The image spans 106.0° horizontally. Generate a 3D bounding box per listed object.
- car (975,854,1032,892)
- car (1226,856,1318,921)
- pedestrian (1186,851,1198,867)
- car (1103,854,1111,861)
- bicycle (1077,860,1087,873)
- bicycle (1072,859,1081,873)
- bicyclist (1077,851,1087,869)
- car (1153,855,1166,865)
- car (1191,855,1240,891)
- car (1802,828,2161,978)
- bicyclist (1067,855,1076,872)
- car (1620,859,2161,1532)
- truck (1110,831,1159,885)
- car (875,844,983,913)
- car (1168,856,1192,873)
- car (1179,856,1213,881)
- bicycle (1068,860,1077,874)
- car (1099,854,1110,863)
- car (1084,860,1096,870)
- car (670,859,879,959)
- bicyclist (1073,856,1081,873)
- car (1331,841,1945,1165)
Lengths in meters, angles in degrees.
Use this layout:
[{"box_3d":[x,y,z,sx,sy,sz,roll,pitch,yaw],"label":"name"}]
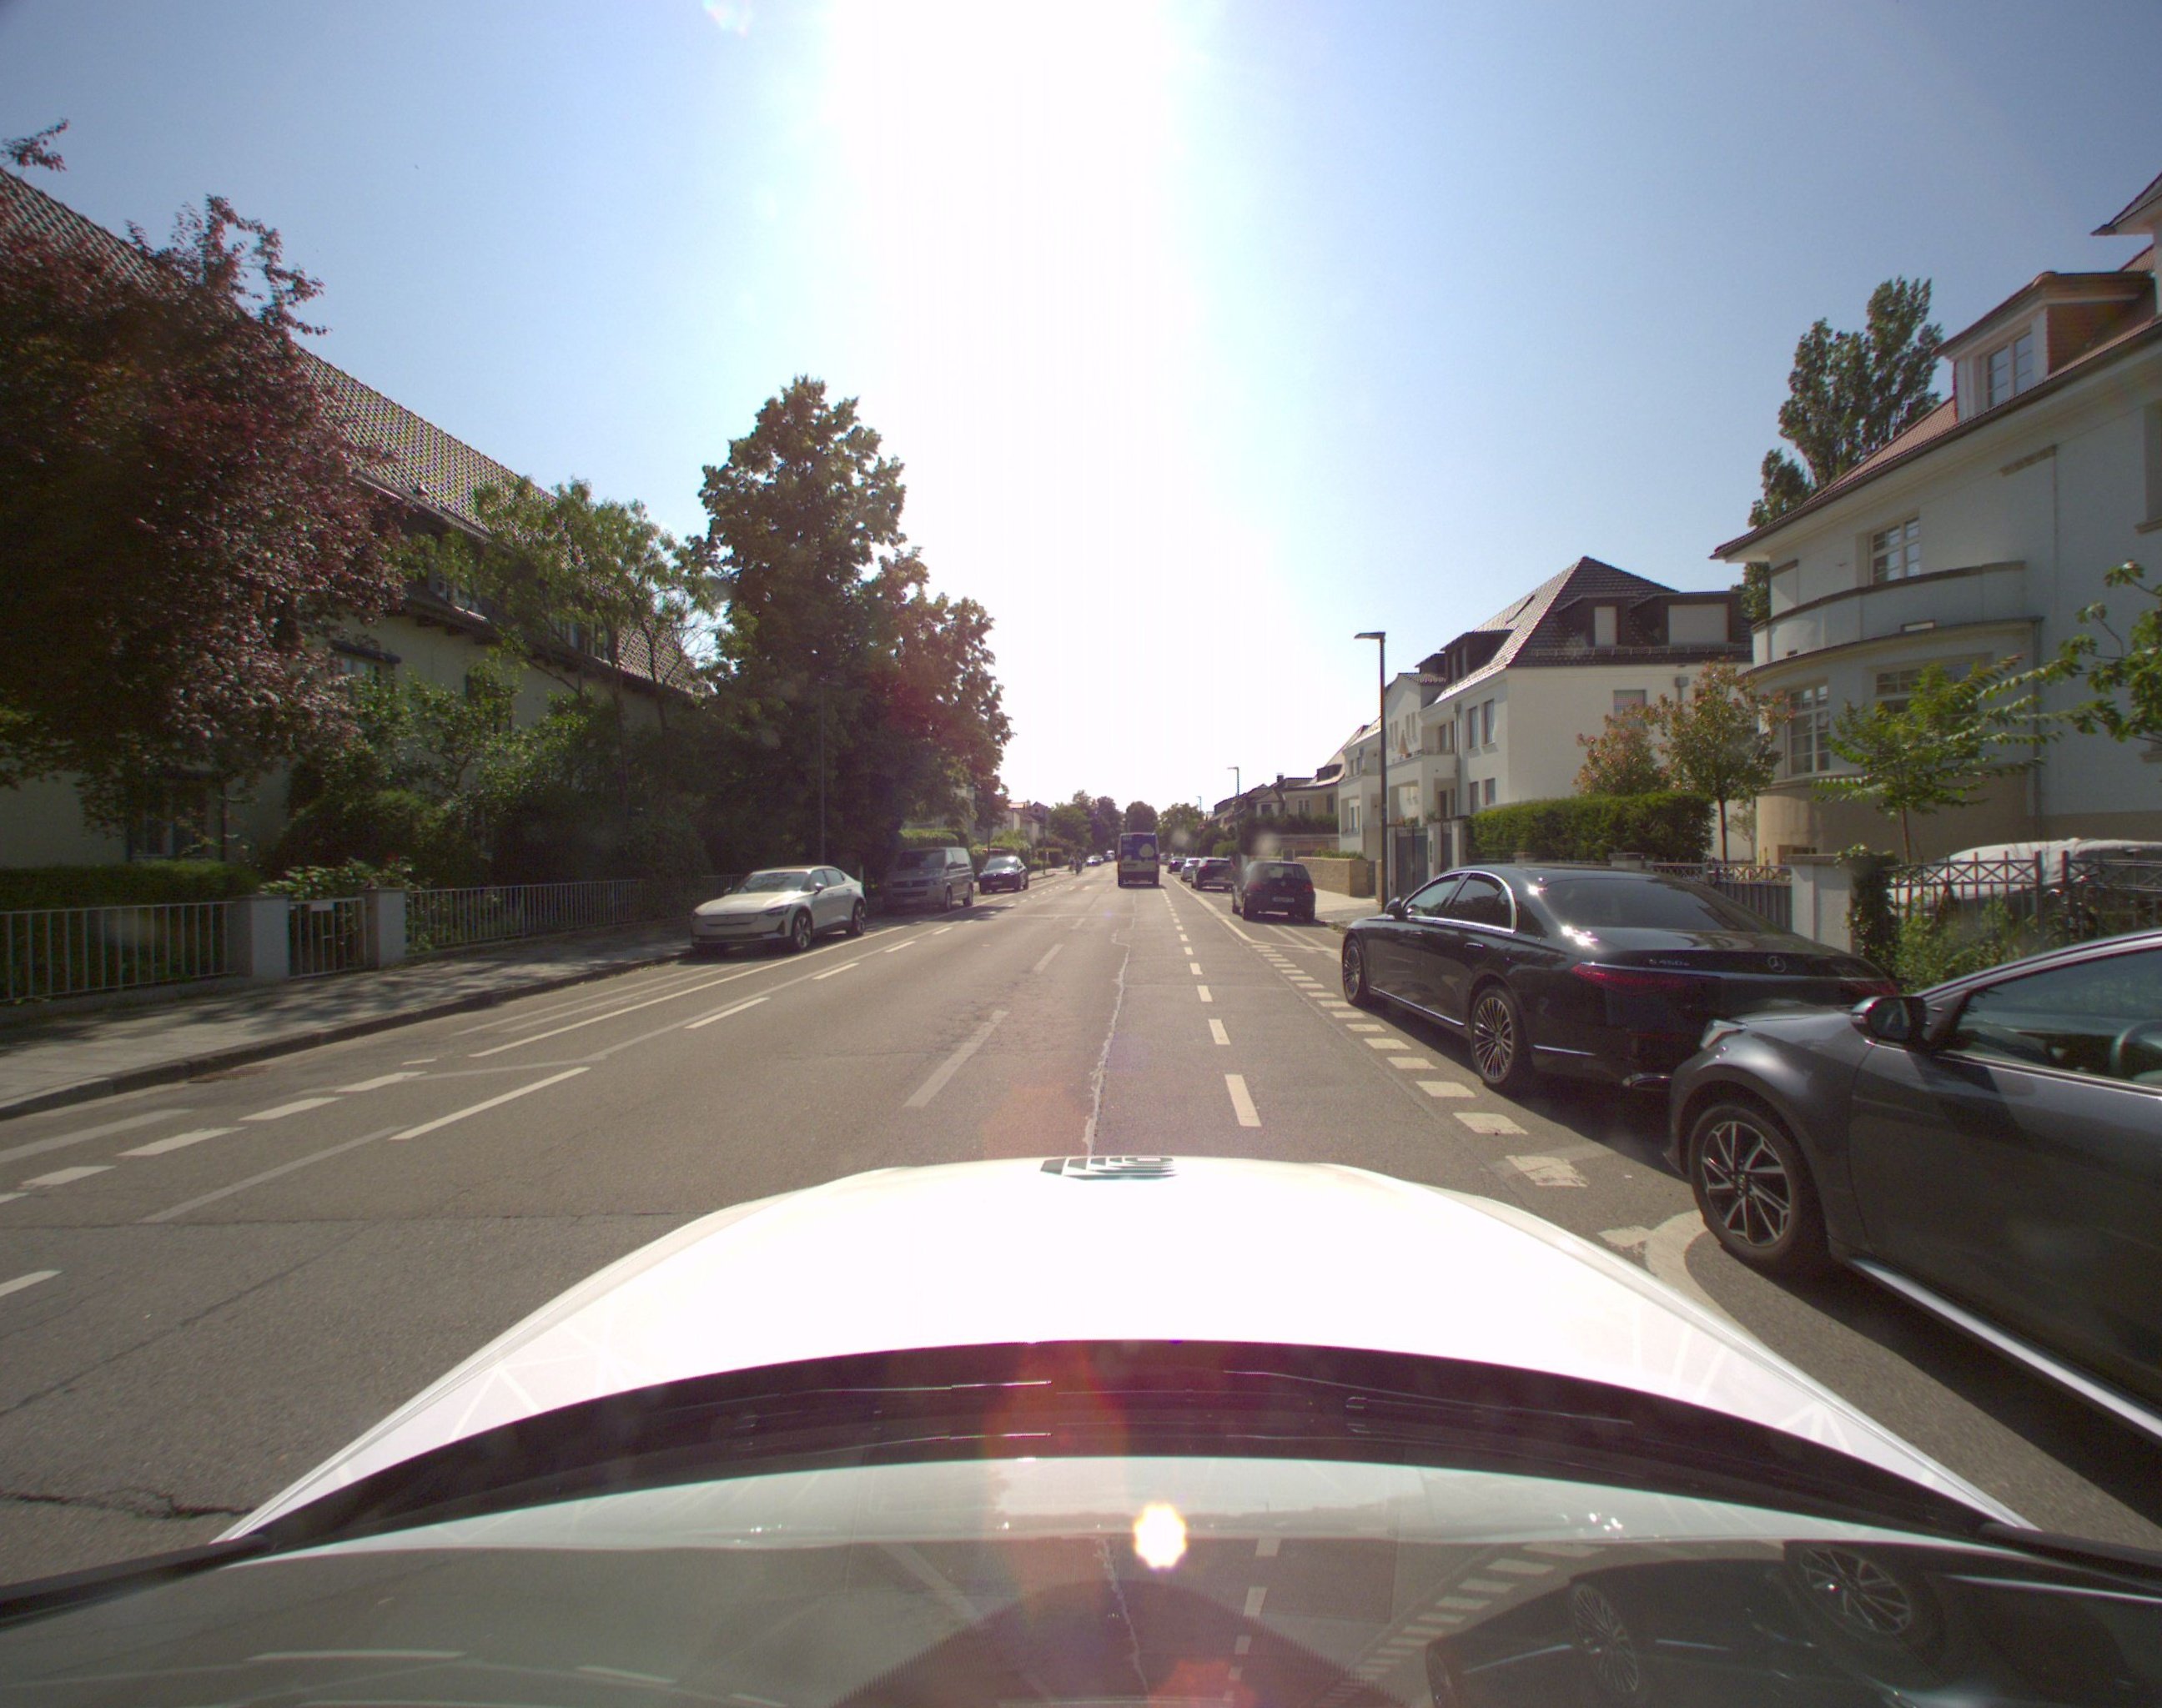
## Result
[{"box_3d":[-3.621,0.881,38.641,1.842,1.611,4.454,-3,-1,5],"label":"car"},{"box_3d":[4.741,0.818,20.742,1.612,1.449,4.004,2,0,4],"label":"car"},{"box_3d":[12.624,0.577,92.559,0.904,1.872,1.178,0,-1,-29],"label":"pedestrian"},{"box_3d":[5.704,0.749,177.715,1.773,1.460,4.089,-1,0,3],"label":"car"},{"box_3d":[0.115,1.207,78.108,0.779,1.166,2.423,-3,-1,4],"label":"bicycle"},{"box_3d":[-0.352,1.028,68.848,0.598,1.105,1.348,-3,-1,4],"label":"bicycle"},{"box_3d":[0.115,0.573,78.197,0.745,1.667,1.023,-3,-1,4],"label":"bicyclist"},{"box_3d":[11.839,0.846,122.557,1.733,1.402,4.077,-3,0,3],"label":"car"},{"box_3d":[5.977,0.830,36.597,1.714,1.449,4.172,2,0,4],"label":"car"},{"box_3d":[11.608,0.570,9.893,4.147,1.583,1.702,2,0,1],"label":"car"},{"box_3d":[-0.831,0.856,74.088,0.673,1.580,0.860,-3,-1,4],"label":"bicyclist"},{"box_3d":[3.240,0.787,1.875,1.650,1.475,3.791,2,0,4],"label":"car"},{"box_3d":[2.625,0.203,40.986,2.264,2.571,4.392,0,-1,1],"label":"truck"},{"box_3d":[-4.598,0.710,25.487,1.875,1.920,4.878,-2,-1,7],"label":"car"},{"box_3d":[8.217,0.875,67.678,1.729,1.329,4.264,-1,0,4],"label":"car"},{"box_3d":[6.829,0.881,48.551,1.729,1.329,4.081,3,-1,5],"label":"car"},{"box_3d":[-0.767,1.165,73.931,0.556,1.185,2.038,0,1,5],"label":"bicycle"},{"box_3d":[4.150,0.769,143.384,1.778,1.440,4.003,-1,0,3],"label":"car"},{"box_3d":[1.354,1.584,119.997,1.779,1.440,4.155,-2,0,1],"label":"car"},{"box_3d":[-5.555,0.914,15.503,1.824,1.485,4.569,-3,0,5],"label":"car"},{"box_3d":[-0.353,0.893,68.939,0.488,1.454,0.965,-3,-1,4],"label":"bicyclist"},{"box_3d":[3.587,0.759,6.591,1.690,1.583,4.902,2,0,1],"label":"car"}]
